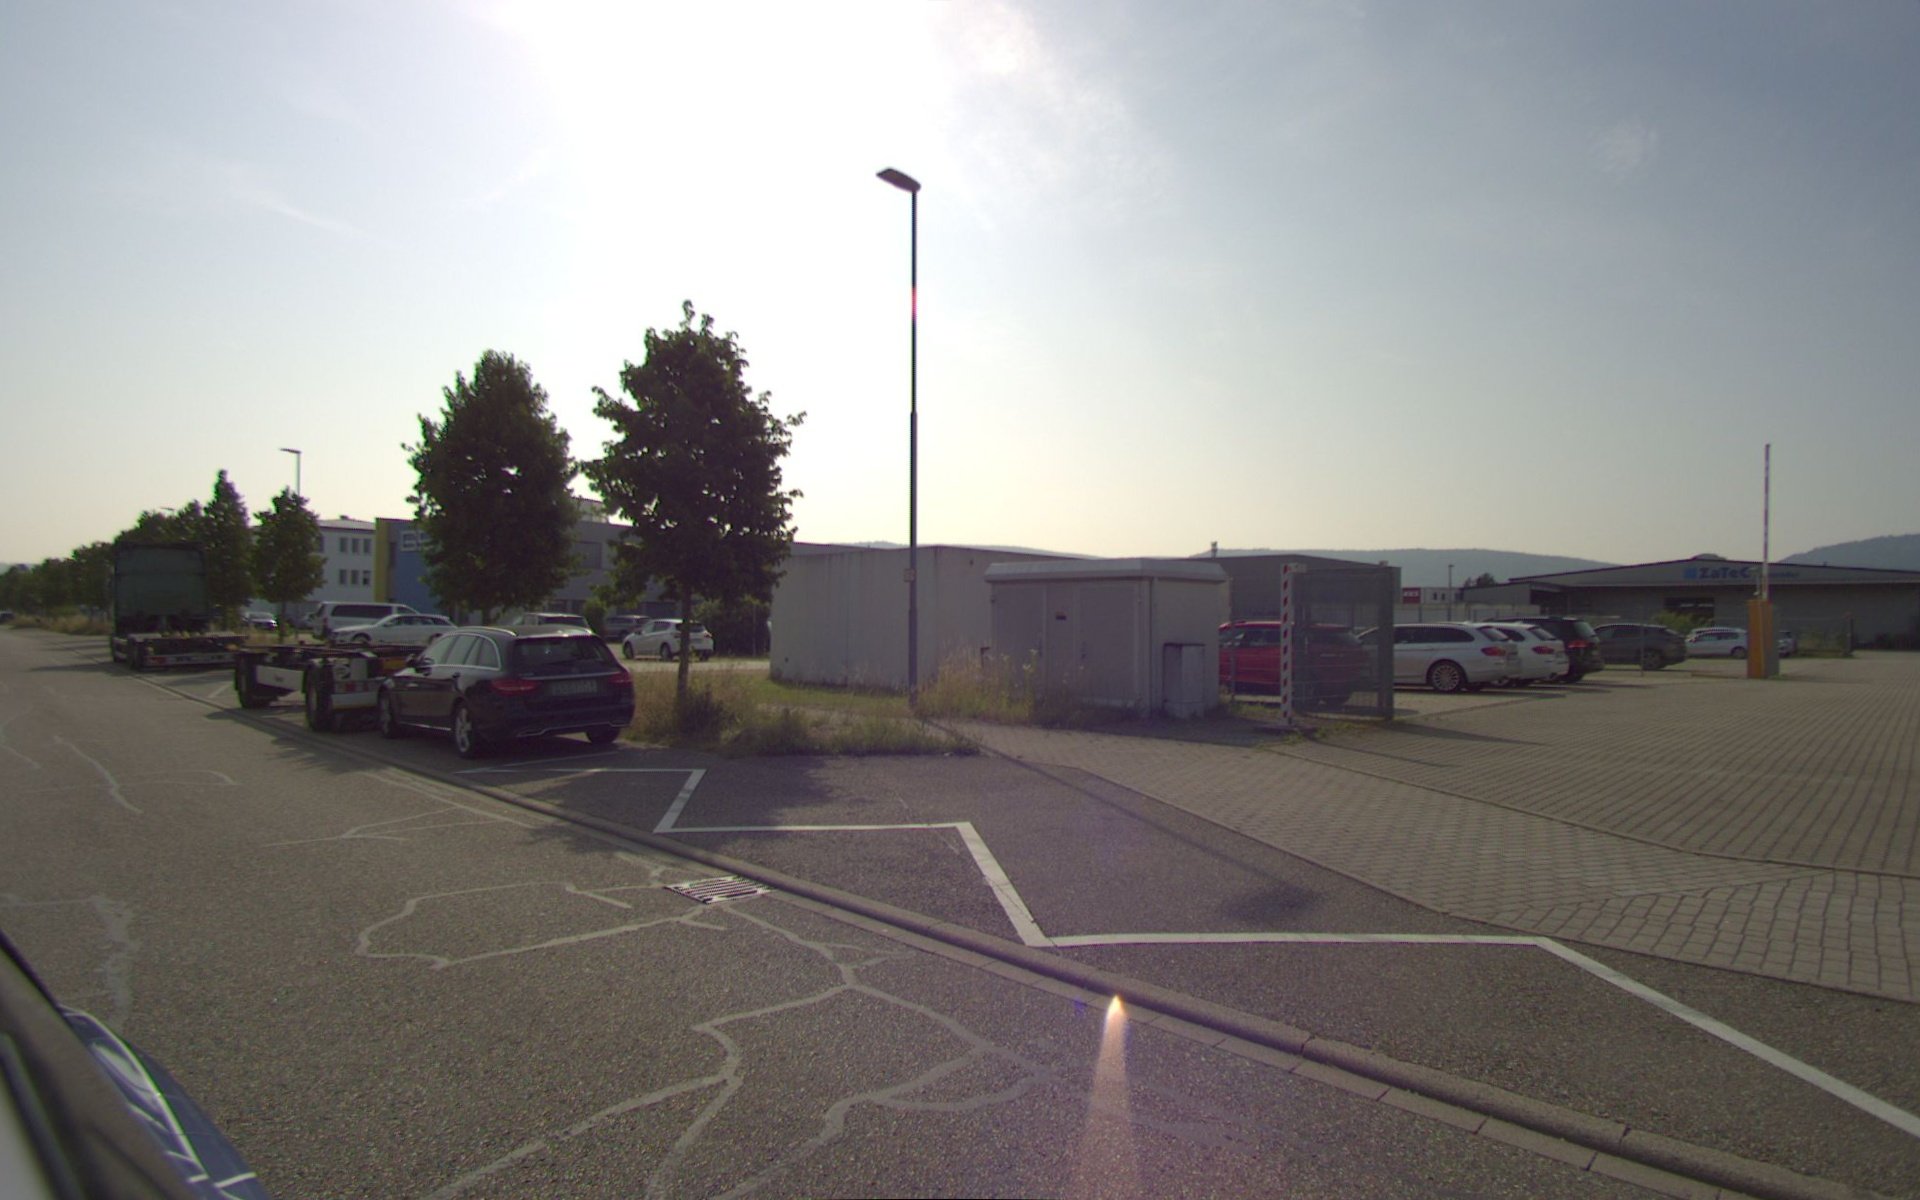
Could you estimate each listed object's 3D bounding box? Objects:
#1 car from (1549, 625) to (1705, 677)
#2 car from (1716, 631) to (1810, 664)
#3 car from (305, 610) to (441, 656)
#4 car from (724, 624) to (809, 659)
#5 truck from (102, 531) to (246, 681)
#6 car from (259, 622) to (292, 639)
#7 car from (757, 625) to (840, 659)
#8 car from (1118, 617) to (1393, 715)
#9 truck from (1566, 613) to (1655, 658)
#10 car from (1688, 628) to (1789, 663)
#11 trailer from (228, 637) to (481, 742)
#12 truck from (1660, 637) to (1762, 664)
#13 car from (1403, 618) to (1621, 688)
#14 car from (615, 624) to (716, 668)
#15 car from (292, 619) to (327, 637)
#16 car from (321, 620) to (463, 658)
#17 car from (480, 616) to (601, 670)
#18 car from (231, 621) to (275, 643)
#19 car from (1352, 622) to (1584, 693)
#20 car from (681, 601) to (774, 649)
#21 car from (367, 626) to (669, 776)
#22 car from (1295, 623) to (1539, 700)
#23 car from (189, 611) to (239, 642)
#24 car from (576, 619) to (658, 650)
[{"bbox_3d":[23.776,1.768,36.151,4.453,1.741,1.963,-1,-2,41],"label":"car"},{"bbox_3d":[46.284,2.702,58.399,1.843,1.782,4.005,2,-2,-41],"label":"car"},{"bbox_3d":[-24.974,1.383,43.158,2.104,1.850,4.650,-1,-2,45],"label":"car"},{"bbox_3d":[-8.941,1.887,46.531,4.214,1.527,1.686,-1,-3,43],"label":"car"},{"bbox_3d":[-24.098,0.146,30.795,2.427,3.911,9.810,0,0,-44],"label":"truck"},{"bbox_3d":[-59.884,2.647,88.516,1.734,1.479,3.921,2,-2,-44],"label":"car"},{"bbox_3d":[-7.733,1.993,48.206,4.214,1.527,1.686,-1,-3,43],"label":"car"},{"bbox_3d":[5.108,1.112,17.832,4.300,1.537,1.752,-2,-3,39],"label":"car"},{"bbox_3d":[38.084,2.069,59.301,1.968,2.533,4.006,2,-2,-40],"label":"truck"},{"bbox_3d":[41.900,2.405,54.519,1.843,1.782,4.005,2,-2,-41],"label":"car"},{"bbox_3d":[-10.124,1.286,16.519,2.104,1.242,7.164,-1,-1,-43],"label":"trailer"},{"bbox_3d":[39.437,2.616,53.186,1.843,1.320,4.005,2,-2,-41],"label":"truck"},{"bbox_3d":[13.839,1.300,25.558,4.479,1.616,1.913,-2,-3,44],"label":"car"},{"bbox_3d":[-10.992,1.670,37.636,4.214,1.527,1.686,-1,-3,43],"label":"car"},{"bbox_3d":[-58.068,2.503,90.330,1.883,1.631,3.921,2,-2,-44],"label":"car"},{"bbox_3d":[-23.055,1.541,41.211,2.001,1.442,4.673,-1,-2,44],"label":"car"},{"bbox_3d":[-14.182,1.404,34.069,4.699,1.699,1.971,-1,-3,43],"label":"car"},{"bbox_3d":[-53.732,2.413,76.844,4.510,1.619,1.920,-1,-2,44],"label":"car"},{"bbox_3d":[11.806,1.298,23.701,4.479,1.506,1.913,-2,-3,44],"label":"car"},{"bbox_3d":[-13.913,1.454,60.459,5.725,2.714,1.694,0,-1,28],"label":"car"},{"bbox_3d":[-5.634,1.087,12.594,1.971,1.478,4.435,0,-1,-45],"label":"car"},{"bbox_3d":[9.830,1.282,22.005,4.479,1.506,1.812,-2,-3,44],"label":"car"},{"bbox_3d":[-49.464,1.769,67.053,4.993,2.029,1.860,-2,-3,45],"label":"car"},{"bbox_3d":[-18.487,1.842,54.518,4.505,1.492,1.564,1,-1,29],"label":"car"}]
